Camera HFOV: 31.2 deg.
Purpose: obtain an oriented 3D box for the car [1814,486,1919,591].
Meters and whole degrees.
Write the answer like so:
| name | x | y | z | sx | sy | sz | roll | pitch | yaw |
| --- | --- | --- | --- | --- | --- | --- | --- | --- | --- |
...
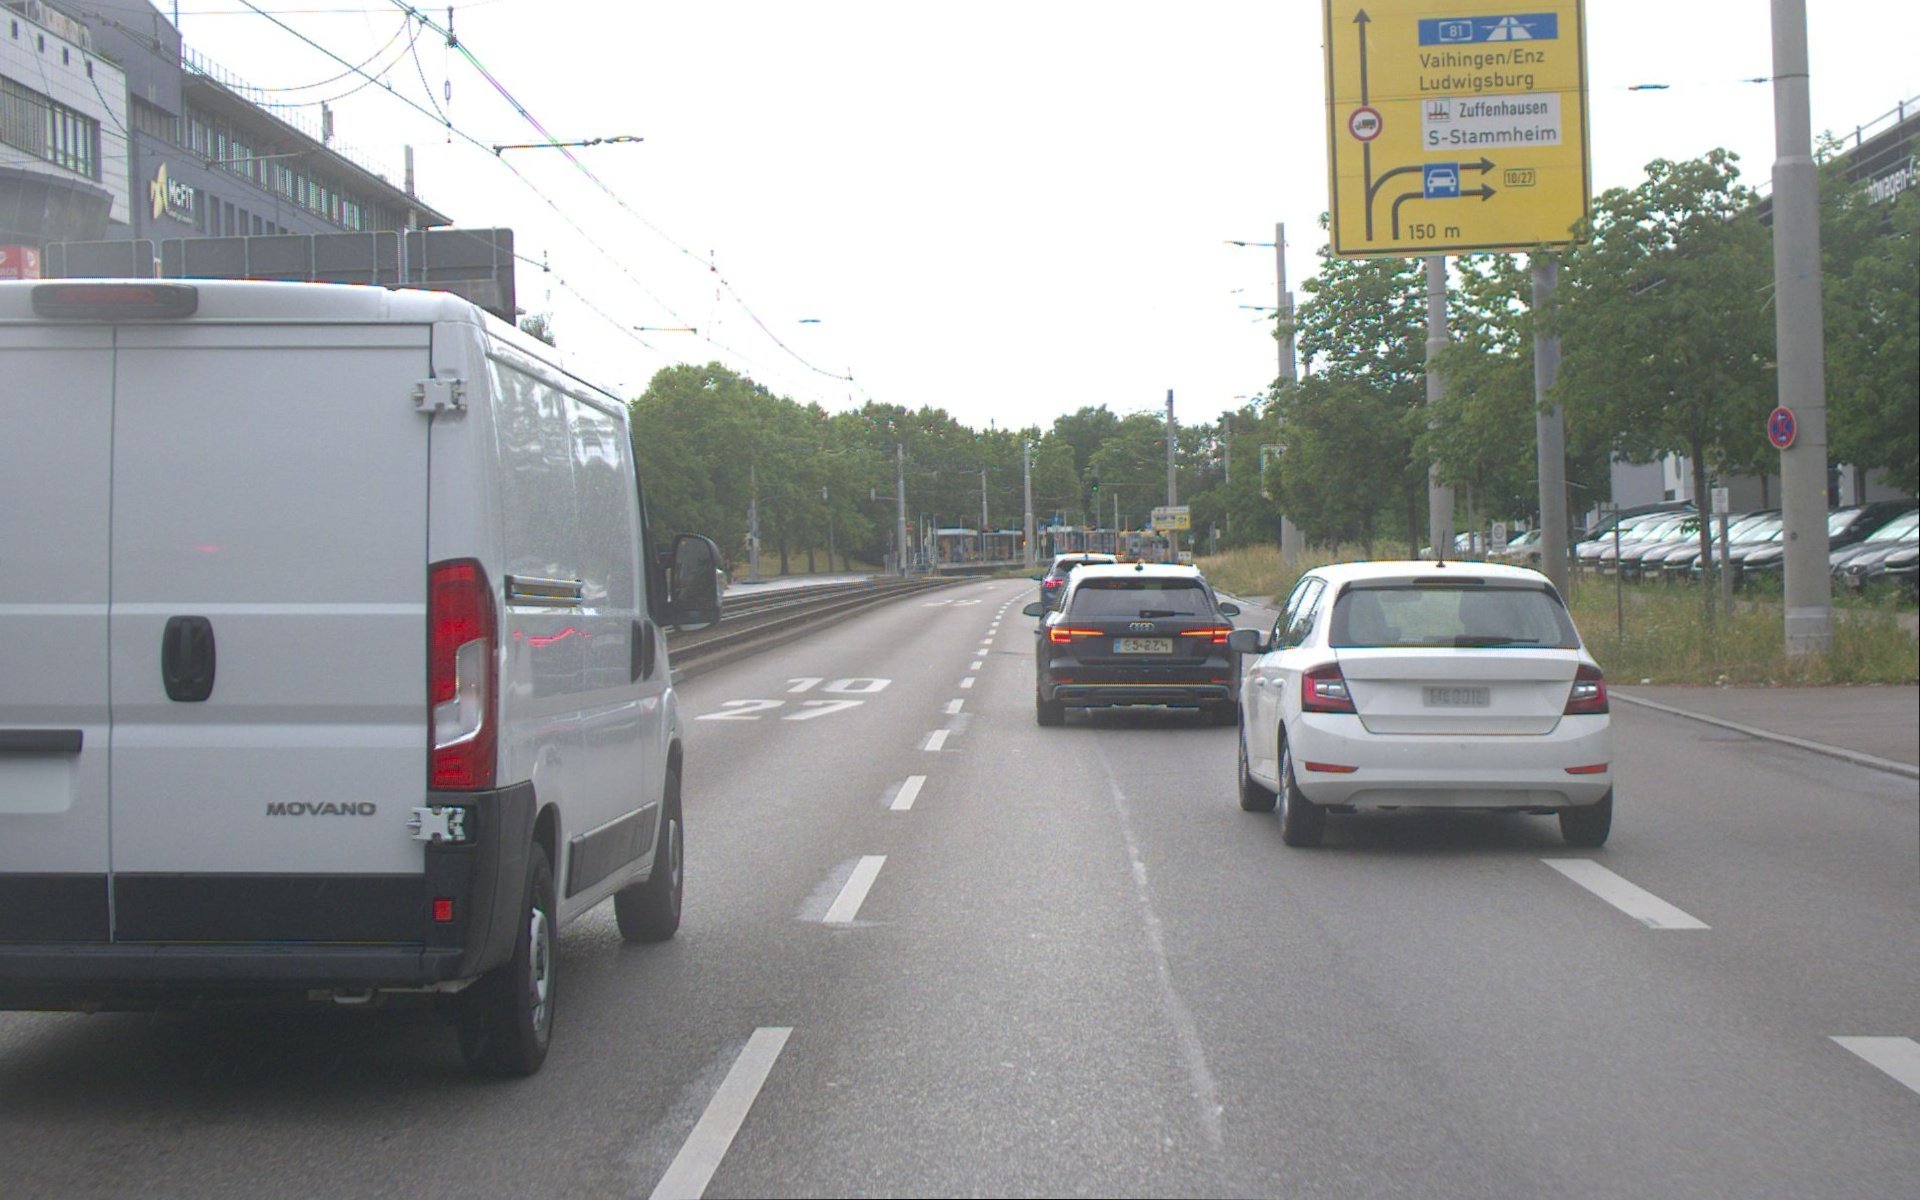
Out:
| name | x | y | z | sx | sy | sz | roll | pitch | yaw |
| --- | --- | --- | --- | --- | --- | --- | --- | --- | --- |
| car | 15.967 | -1.061 | 54.090 | 4.484 | 1.563 | 1.822 | -3 | 1 | -10 |

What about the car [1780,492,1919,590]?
| name | x | y | z | sx | sy | sz | roll | pitch | yaw |
| --- | --- | --- | --- | --- | --- | --- | --- | --- | --- |
| car | 15.807 | -1.033 | 56.702 | 4.043 | 1.496 | 1.687 | -3 | 1 | -10 |

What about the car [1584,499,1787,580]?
| name | x | y | z | sx | sy | sz | roll | pitch | yaw |
| --- | --- | --- | --- | --- | --- | --- | --- | --- | --- |
| car | 16.512 | -1.380 | 78.221 | 4.138 | 1.599 | 1.827 | -4 | 1 | -23 |

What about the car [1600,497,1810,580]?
| name | x | y | z | sx | sy | sz | roll | pitch | yaw |
| --- | --- | --- | --- | --- | --- | --- | --- | --- | --- |
| car | 16.338 | -1.345 | 75.374 | 4.138 | 1.564 | 1.827 | -4 | 1 | -23 |

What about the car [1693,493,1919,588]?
| name | x | y | z | sx | sy | sz | roll | pitch | yaw |
| --- | --- | --- | --- | --- | --- | --- | --- | --- | --- |
| car | 16.037 | -1.116 | 64.273 | 4.138 | 1.529 | 1.794 | -4 | 1 | -18 |

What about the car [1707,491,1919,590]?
| name | x | y | z | sx | sy | sz | roll | pitch | yaw |
| --- | --- | --- | --- | --- | --- | --- | --- | --- | --- |
| car | 15.645 | -1.080 | 61.557 | 4.043 | 1.571 | 1.733 | -4 | 1 | -18 |

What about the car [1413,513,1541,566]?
| name | x | y | z | sx | sy | sz | roll | pitch | yaw |
| --- | --- | --- | --- | --- | --- | --- | --- | --- | --- |
| car | 17.603 | -2.051 | 117.025 | 4.087 | 1.563 | 1.799 | -3 | 0 | -35 |

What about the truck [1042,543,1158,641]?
| name | x | y | z | sx | sy | sz | roll | pitch | yaw |
| --- | --- | --- | --- | --- | --- | --- | --- | --- | --- |
| truck | 2.704 | -0.186 | 67.139 | 1.993 | 1.784 | 4.414 | -2 | 1 | 0 |

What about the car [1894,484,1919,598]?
| name | x | y | z | sx | sy | sz | roll | pitch | yaw |
| --- | --- | --- | --- | --- | --- | --- | --- | --- | --- |
| car | 15.809 | -0.962 | 48.813 | 4.484 | 1.613 | 1.822 | -3 | 1 | -7 |

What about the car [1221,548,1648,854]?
| name | x | y | z | sx | sy | sz | roll | pitch | yaw |
| --- | --- | --- | --- | --- | --- | --- | --- | --- | --- |
| car | 2.450 | 0.465 | 18.591 | 1.746 | 1.452 | 3.671 | 1 | 1 | -1 |

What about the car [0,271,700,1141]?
| name | x | y | z | sx | sy | sz | roll | pitch | yaw |
| --- | --- | --- | --- | --- | --- | --- | --- | --- | --- |
| car | -2.167 | 0.227 | 11.286 | 2.090 | 2.189 | 5.061 | 1 | 1 | 1 |

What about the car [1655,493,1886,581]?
| name | x | y | z | sx | sy | sz | roll | pitch | yaw |
| --- | --- | --- | --- | --- | --- | --- | --- | --- | --- |
| car | 16.456 | -1.279 | 69.828 | 4.138 | 1.523 | 1.832 | -4 | 1 | -18 |

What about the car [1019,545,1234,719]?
| name | x | y | z | sx | sy | sz | roll | pitch | yaw |
| --- | --- | --- | --- | --- | --- | --- | --- | --- | --- |
| car | 1.438 | 0.242 | 31.029 | 1.789 | 1.444 | 4.000 | 0 | 1 | 1 |

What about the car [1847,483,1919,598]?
| name | x | y | z | sx | sy | sz | roll | pitch | yaw |
| --- | --- | --- | --- | --- | --- | --- | --- | --- | --- |
| car | 15.774 | -1.000 | 51.314 | 4.484 | 1.657 | 1.822 | -3 | 1 | -10 |

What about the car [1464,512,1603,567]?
| name | x | y | z | sx | sy | sz | roll | pitch | yaw |
| --- | --- | --- | --- | --- | --- | --- | --- | --- | --- |
| car | 17.966 | -1.905 | 107.649 | 4.087 | 1.460 | 1.748 | -3 | 0 | -31 |
